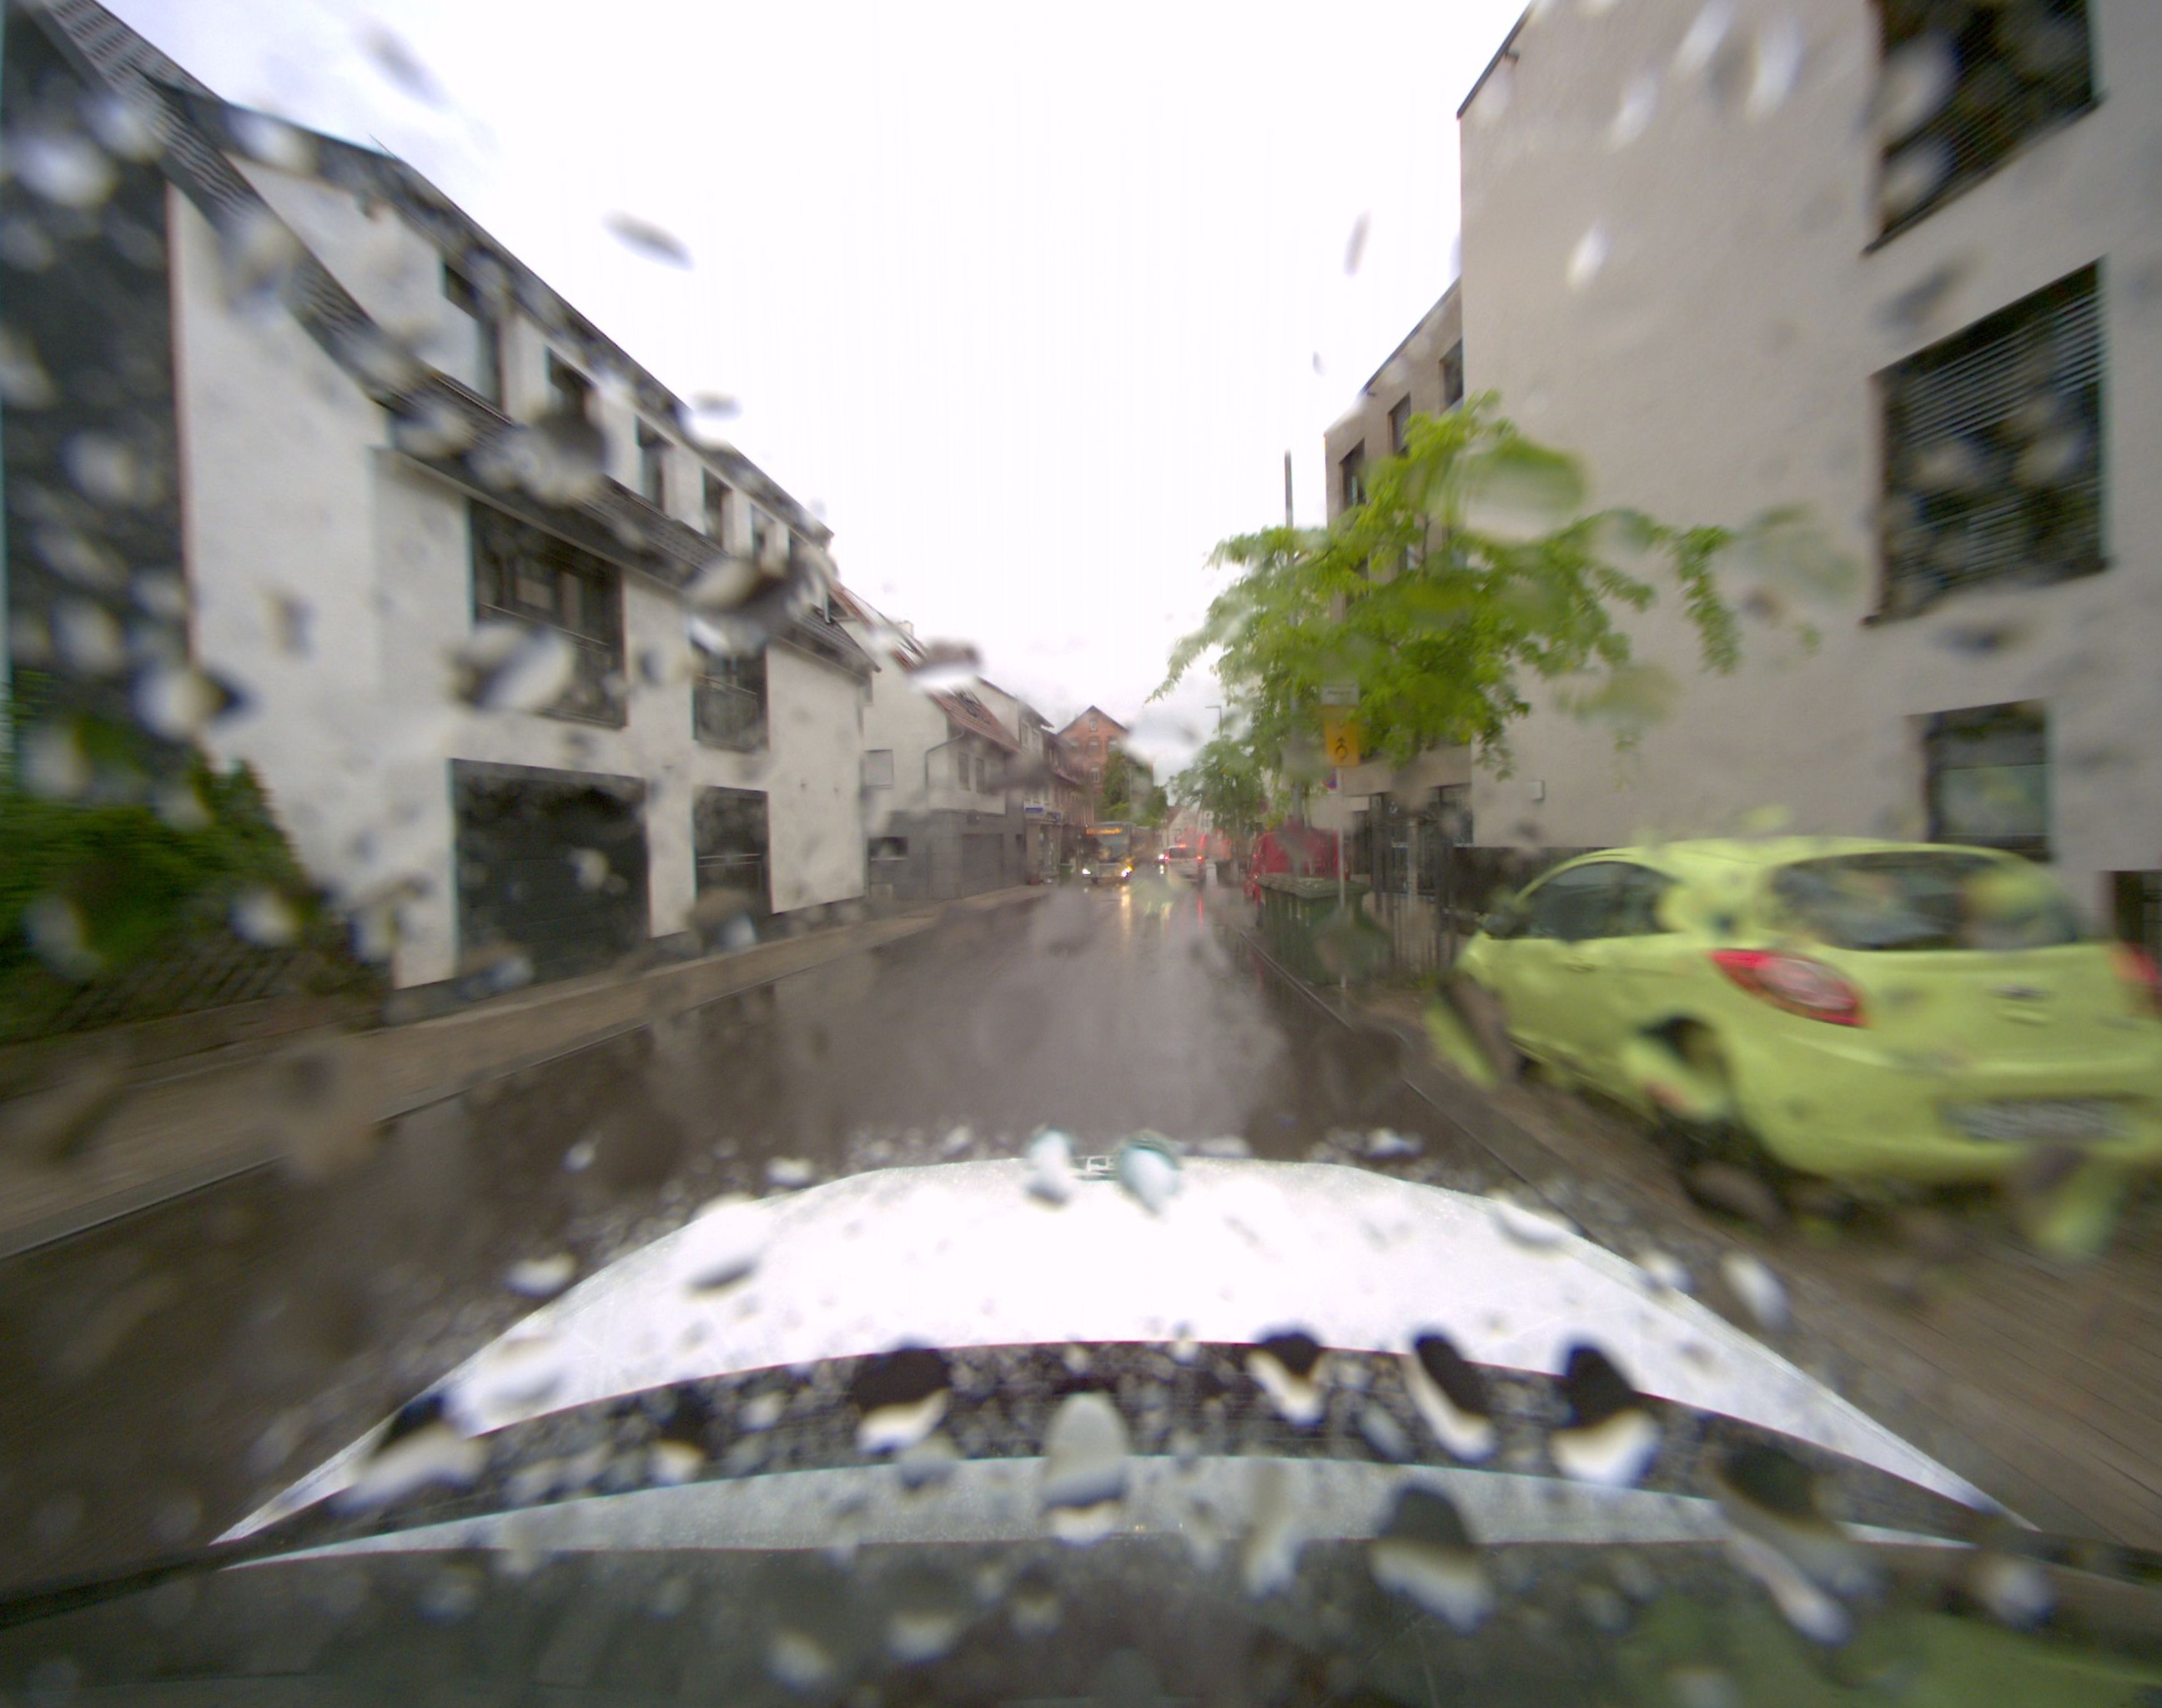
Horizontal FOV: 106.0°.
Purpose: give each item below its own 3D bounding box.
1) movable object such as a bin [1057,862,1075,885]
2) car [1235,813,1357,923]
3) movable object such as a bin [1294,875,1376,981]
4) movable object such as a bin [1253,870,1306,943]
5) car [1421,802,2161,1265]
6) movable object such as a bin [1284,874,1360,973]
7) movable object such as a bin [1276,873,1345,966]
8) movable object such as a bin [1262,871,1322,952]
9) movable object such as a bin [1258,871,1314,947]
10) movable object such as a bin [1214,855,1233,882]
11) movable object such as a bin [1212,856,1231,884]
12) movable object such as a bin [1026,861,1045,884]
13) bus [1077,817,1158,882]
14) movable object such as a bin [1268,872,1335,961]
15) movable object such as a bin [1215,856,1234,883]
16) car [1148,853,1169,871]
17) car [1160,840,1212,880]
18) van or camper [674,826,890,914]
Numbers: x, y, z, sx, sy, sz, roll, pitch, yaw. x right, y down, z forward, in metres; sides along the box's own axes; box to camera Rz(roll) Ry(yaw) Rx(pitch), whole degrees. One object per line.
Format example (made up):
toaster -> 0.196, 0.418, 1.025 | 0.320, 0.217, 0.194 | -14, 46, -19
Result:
movable object such as a bin -> -0.680, 0.906, 37.950 | 0.737, 1.059, 0.728 | 0, 0, 7
car -> 4.365, 0.281, 17.189 | 1.825, 1.907, 4.613 | -3, -1, 7
movable object such as a bin -> 2.770, 0.795, 8.937 | 0.706, 1.087, 0.601 | -2, 0, 3
movable object such as a bin -> 3.123, 0.815, 12.839 | 0.705, 1.087, 0.602 | -2, 0, 5
car -> 3.373, 0.626, 4.540 | 1.630, 1.525, 3.639 | -2, -1, 4
movable object such as a bin -> 2.808, 0.799, 9.549 | 0.706, 1.087, 0.601 | -2, 0, 3
movable object such as a bin -> 2.841, 0.801, 10.119 | 0.699, 1.087, 0.516 | -2, 0, 3
movable object such as a bin -> 2.997, 0.813, 11.627 | 0.705, 1.087, 0.602 | -2, 0, 5
movable object such as a bin -> 3.063, 0.812, 12.227 | 0.705, 1.087, 0.602 | -2, 0, 5
movable object such as a bin -> 6.356, 0.665, 36.378 | 0.746, 1.171, 0.633 | -2, -1, 14
movable object such as a bin -> 6.144, 0.695, 35.565 | 0.746, 1.171, 0.633 | -2, -1, 14
movable object such as a bin -> -2.191, 0.881, 39.216 | 0.788, 1.059, 0.703 | 0, 0, 7
bus -> 2.244, -0.239, 44.421 | 2.706, 3.079, 10.981 | -1, 0, 11
movable object such as a bin -> 2.879, 0.806, 10.690 | 0.706, 1.087, 0.601 | -2, 0, 3
movable object such as a bin -> 6.522, 0.701, 37.019 | 0.746, 1.171, 0.633 | -2, -1, 14
car -> 7.228, 0.750, 75.931 | 1.777, 1.507, 4.478 | -1, 1, 7
car -> 5.301, 0.324, 41.758 | 2.144, 1.899, 4.927 | 0, -1, 2
van or camper -> -8.059, 0.412, 22.209 | 4.998, 1.933, 2.004 | 4, 0, 6
